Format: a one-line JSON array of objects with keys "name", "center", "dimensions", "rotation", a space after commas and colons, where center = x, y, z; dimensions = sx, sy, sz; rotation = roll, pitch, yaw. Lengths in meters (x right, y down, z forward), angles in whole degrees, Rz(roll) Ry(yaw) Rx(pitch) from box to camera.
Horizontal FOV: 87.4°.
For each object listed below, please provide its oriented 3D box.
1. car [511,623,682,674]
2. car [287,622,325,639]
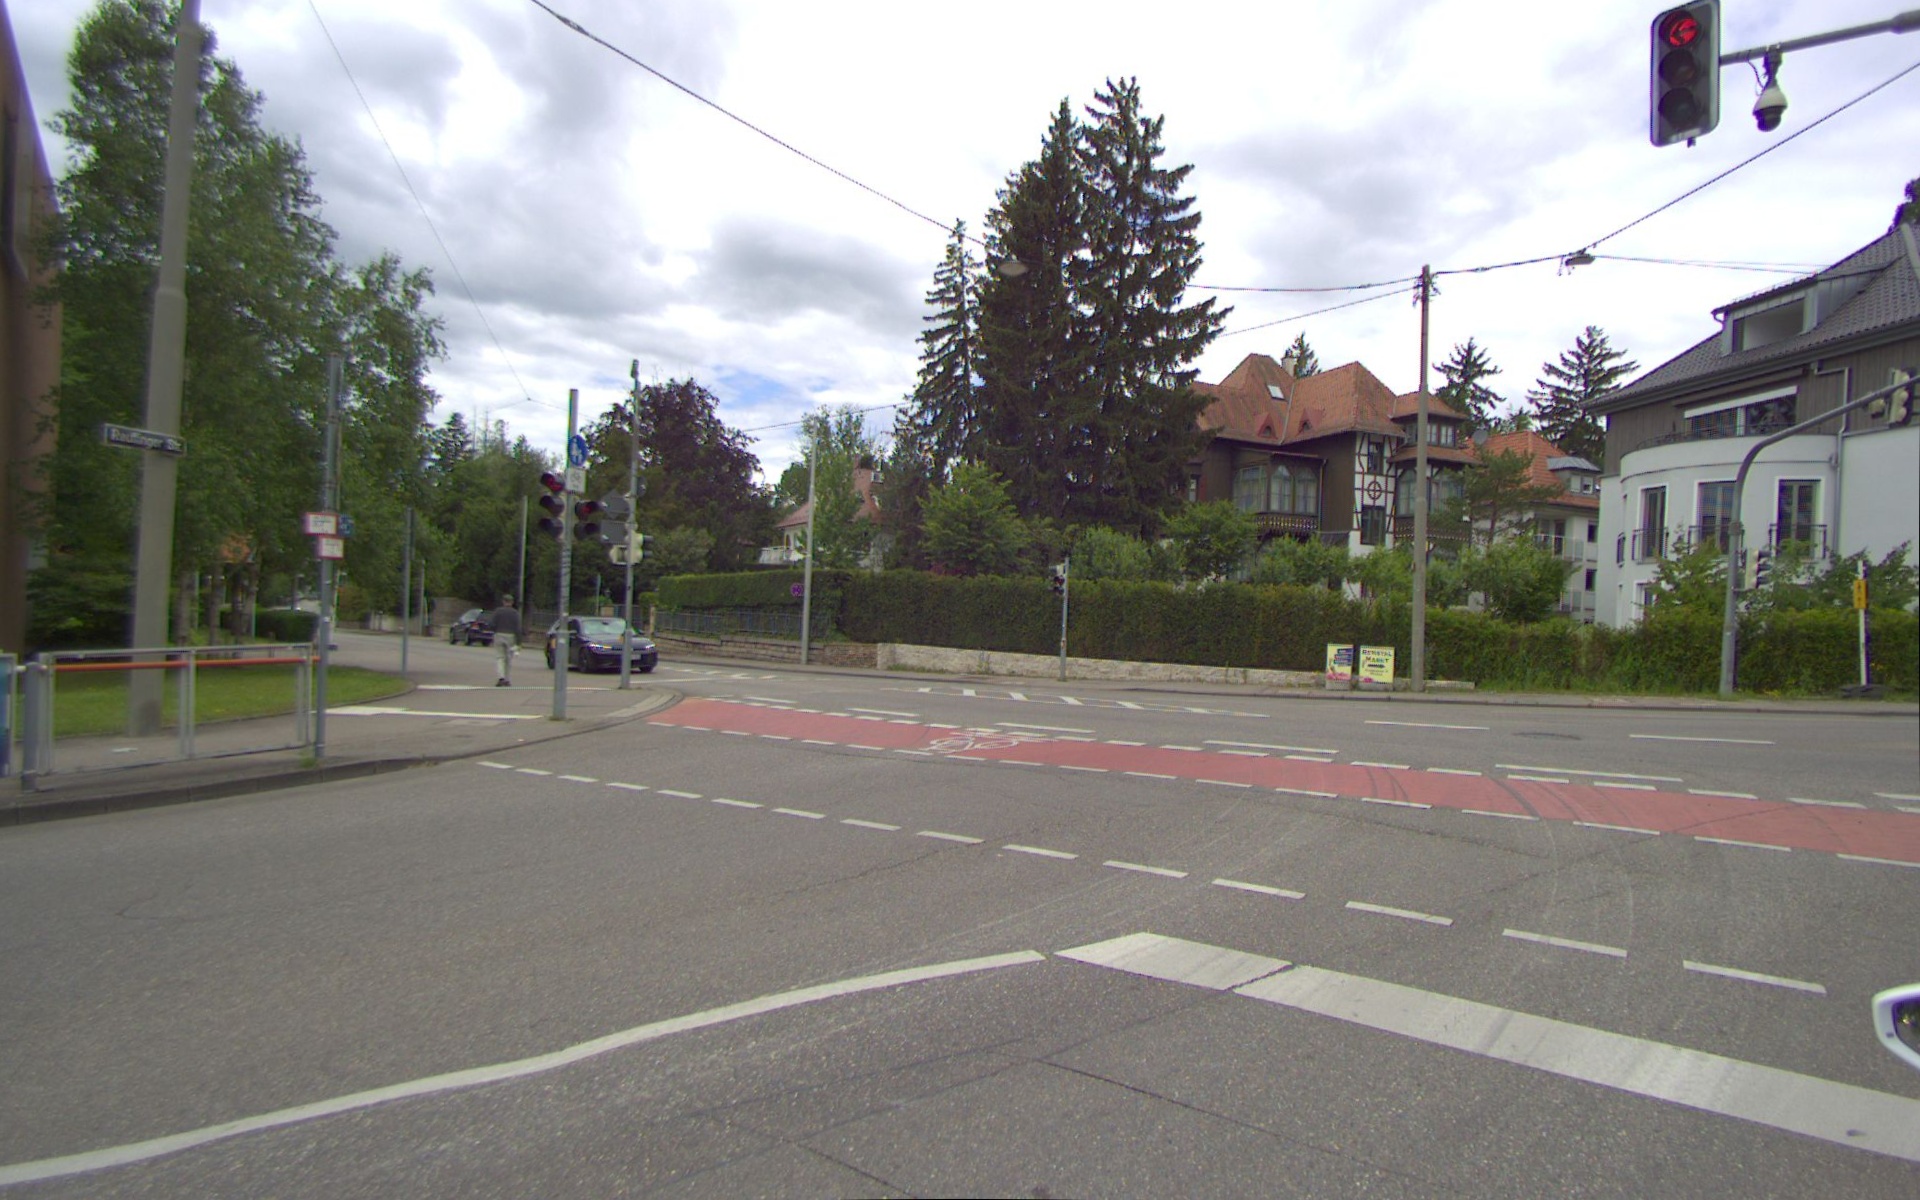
[{"name": "car", "center": [-9.538, 1.238, 26.419], "dimensions": [3.923, 1.260, 1.999], "rotation": [-1, -1, 22]}, {"name": "car", "center": [-53.439, 2.522, 82.109], "dimensions": [1.986, 1.216, 3.950], "rotation": [2, 0, -42]}]
